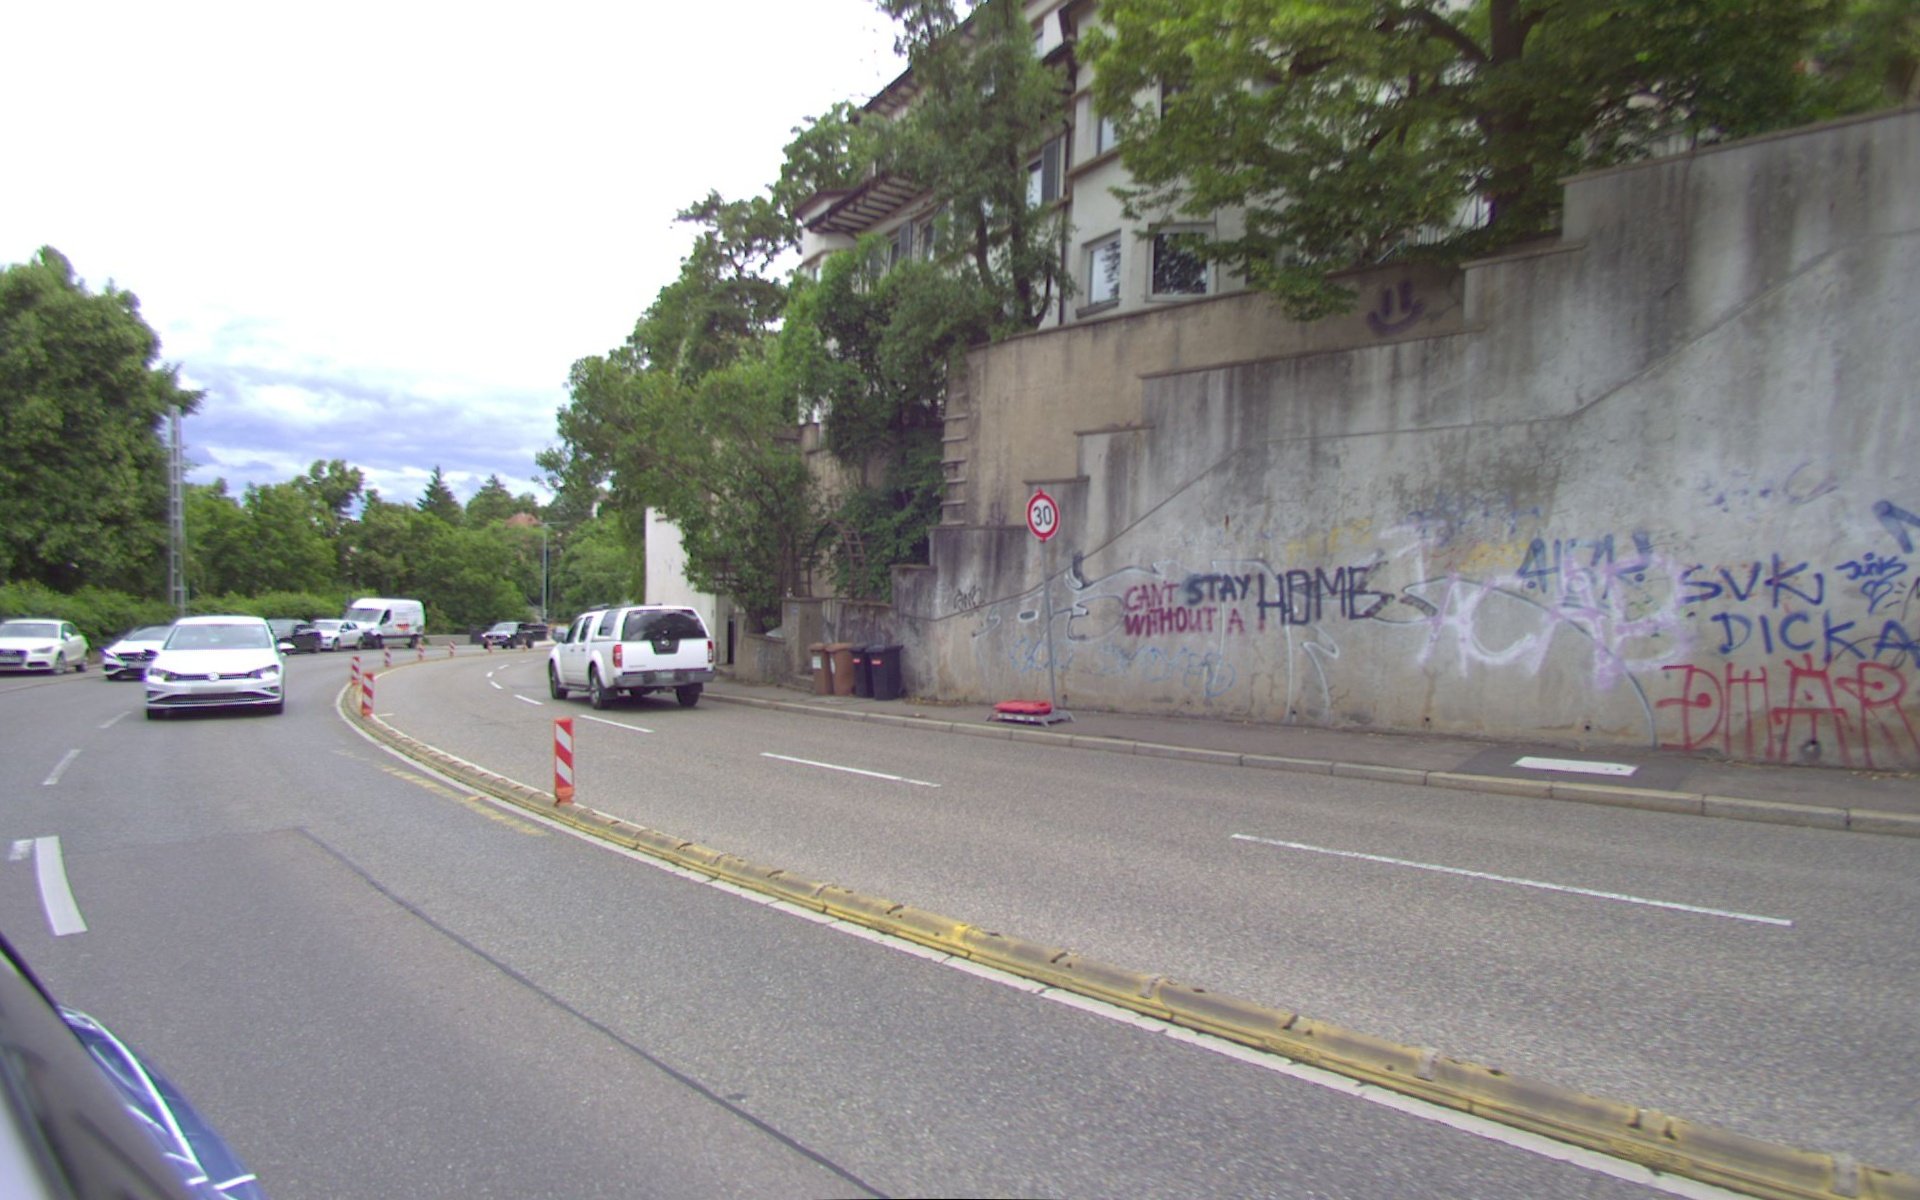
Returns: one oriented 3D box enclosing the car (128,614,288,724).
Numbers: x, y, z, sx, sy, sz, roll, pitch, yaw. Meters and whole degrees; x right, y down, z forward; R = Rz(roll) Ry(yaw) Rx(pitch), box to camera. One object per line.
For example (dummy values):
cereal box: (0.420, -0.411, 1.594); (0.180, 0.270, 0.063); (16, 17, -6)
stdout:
car: (-12.344, 1.062, 16.737); (1.856, 1.590, 4.009); (3, -3, -36)

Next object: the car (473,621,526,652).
car: (-28.177, 2.178, 62.024); (1.968, 1.719, 4.008); (-2, 0, -10)

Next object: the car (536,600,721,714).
car: (-6.387, 1.007, 19.058); (1.885, 1.843, 5.320); (1, -2, -35)

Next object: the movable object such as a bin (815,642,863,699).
movable object such as a bin: (-2.164, 1.253, 18.092); (0.599, 0.956, 0.582); (-1, -1, -38)

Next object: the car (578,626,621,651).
car: (-26.953, 2.842, 75.843); (1.970, 1.719, 4.003); (-2, 0, -4)

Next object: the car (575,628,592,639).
car: (-53.278, 4.799, 143.157); (1.687, 1.478, 3.671); (-1, -1, -30)

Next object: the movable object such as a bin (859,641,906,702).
movable object such as a bin: (-1.284, 1.173, 16.824); (0.535, 0.956, 0.568); (-1, -1, -38)

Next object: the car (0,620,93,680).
car: (-24.185, 1.252, 26.271); (1.752, 1.429, 4.012); (3, -2, -29)

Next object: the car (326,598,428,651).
car: (-30.690, 1.333, 53.534); (2.061, 2.542, 5.846); (2, -2, -2)

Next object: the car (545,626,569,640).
car: (-46.180, 3.791, 115.962); (1.762, 1.562, 3.786); (-2, 0, -35)

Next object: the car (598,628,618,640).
car: (-44.698, 4.276, 128.341); (1.687, 1.478, 3.671); (-1, -1, -30)

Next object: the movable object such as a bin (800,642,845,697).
movable object such as a bin: (-2.522, 1.259, 18.549); (0.599, 0.956, 0.557); (-1, -1, -38)

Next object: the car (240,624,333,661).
car: (-28.548, 1.777, 43.050); (1.678, 1.475, 4.675); (1, -2, -13)

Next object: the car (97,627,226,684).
car: (-20.722, 1.401, 26.446); (1.768, 1.316, 4.114); (0, -2, -25)

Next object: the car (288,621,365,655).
car: (-29.673, 1.773, 47.511); (1.679, 1.475, 3.842); (2, -2, -9)

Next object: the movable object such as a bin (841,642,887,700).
movable object such as a bin: (-1.657, 1.215, 17.477); (0.535, 0.956, 0.568); (-1, -1, -38)
